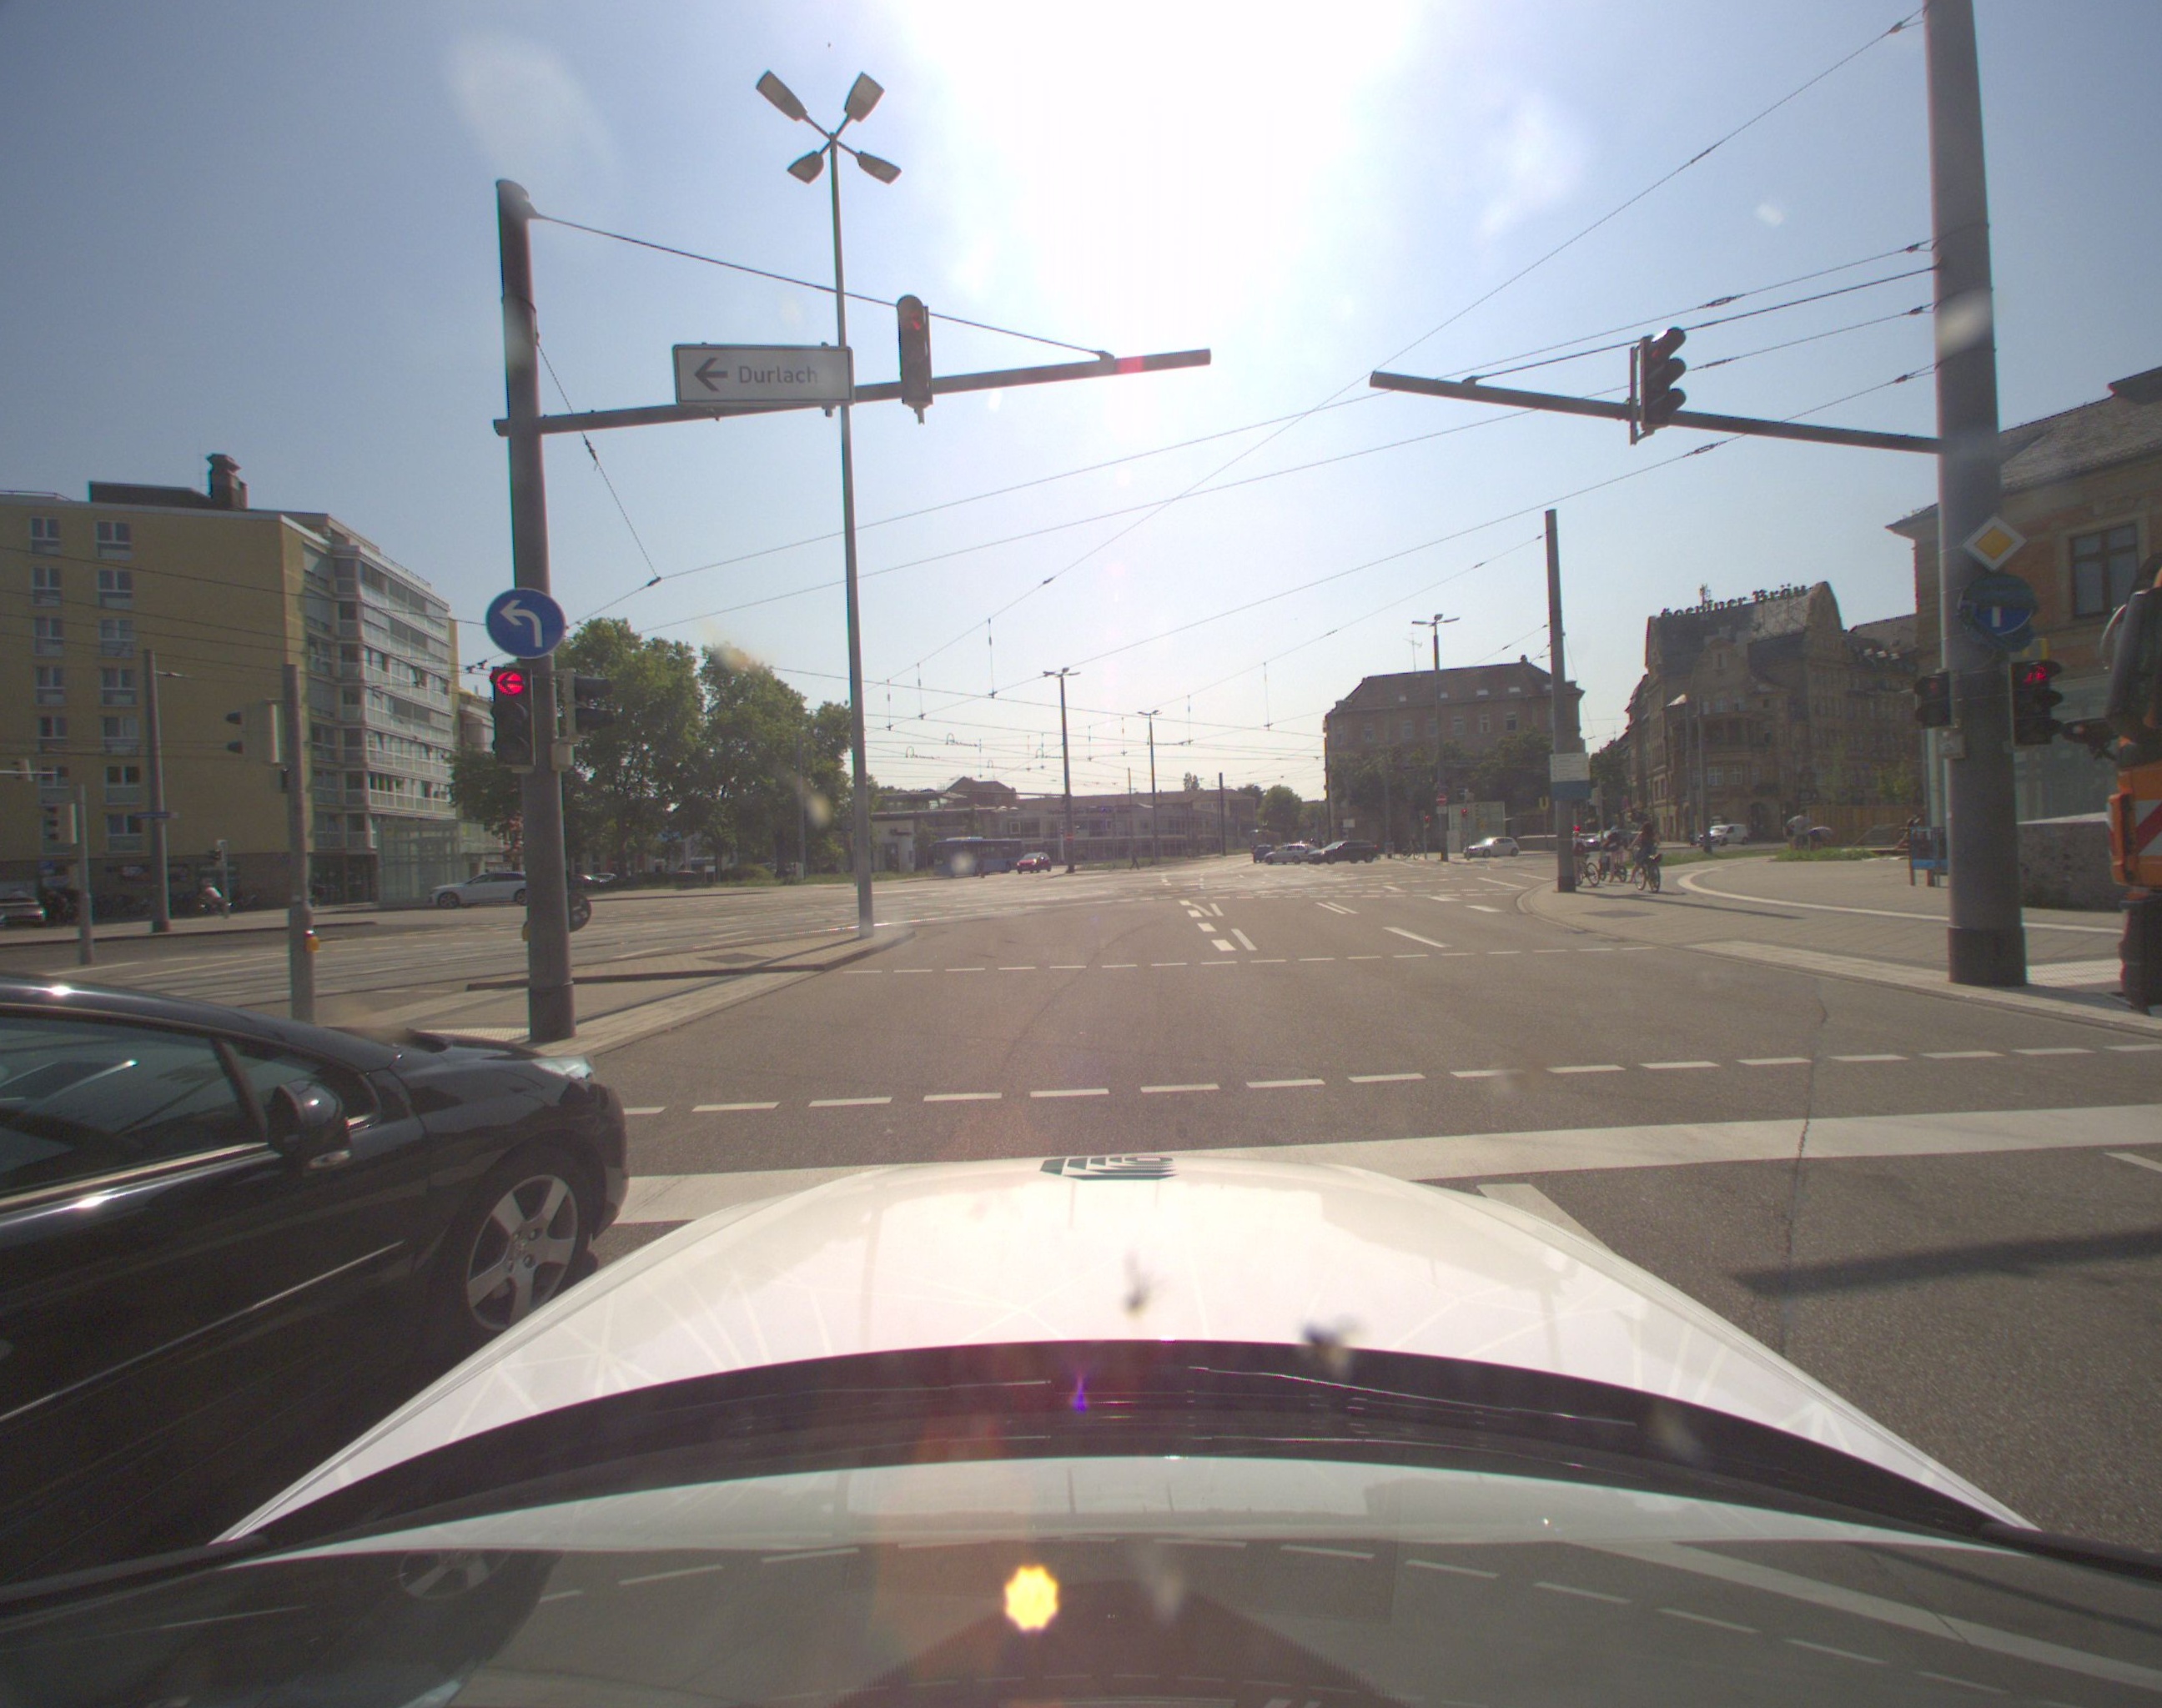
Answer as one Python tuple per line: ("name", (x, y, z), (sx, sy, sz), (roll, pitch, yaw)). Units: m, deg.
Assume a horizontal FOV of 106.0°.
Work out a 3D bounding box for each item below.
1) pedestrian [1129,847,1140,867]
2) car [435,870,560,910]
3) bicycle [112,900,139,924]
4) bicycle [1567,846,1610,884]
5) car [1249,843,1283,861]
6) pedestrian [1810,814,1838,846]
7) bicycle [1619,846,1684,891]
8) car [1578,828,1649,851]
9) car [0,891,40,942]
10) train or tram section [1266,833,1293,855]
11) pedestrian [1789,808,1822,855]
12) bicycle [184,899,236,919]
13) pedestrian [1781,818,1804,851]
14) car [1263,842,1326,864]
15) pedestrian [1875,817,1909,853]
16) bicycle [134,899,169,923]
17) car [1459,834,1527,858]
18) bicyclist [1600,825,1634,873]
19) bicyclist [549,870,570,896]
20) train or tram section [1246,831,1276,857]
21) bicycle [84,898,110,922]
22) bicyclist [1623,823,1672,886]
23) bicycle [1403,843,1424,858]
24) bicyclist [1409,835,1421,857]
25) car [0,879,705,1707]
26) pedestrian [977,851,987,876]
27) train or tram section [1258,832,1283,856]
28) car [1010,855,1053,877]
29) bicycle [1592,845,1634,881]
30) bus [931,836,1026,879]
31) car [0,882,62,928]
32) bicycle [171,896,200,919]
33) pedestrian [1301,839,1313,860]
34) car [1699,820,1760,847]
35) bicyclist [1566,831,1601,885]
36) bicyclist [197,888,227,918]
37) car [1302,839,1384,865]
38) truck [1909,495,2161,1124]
("pedestrian", (3.903, 0.210, 59.650), (0.678, 1.443, 0.364), (-2, 0, -15))
("car", (-27.229, 1.654, 38.158), (4.330, 1.618, 1.745), (-2, 0, -16))
("bicycle", (-51.645, 3.105, 44.010), (3.220, 1.204, 0.699), (-3, 0, 36))
("bicycle", (14.570, 0.297, 23.401), (0.532, 1.055, 1.660), (-2, 0, 14))
("car", (15.514, -0.165, 68.154), (1.575, 1.394, 4.025), (-3, 0, 30))
("pedestrian", (29.129, -0.943, 31.928), (0.658, 1.214, 0.531), (-2, 0, 30))
("bicycle", (14.152, 0.337, 20.263), (0.489, 1.055, 1.826), (-2, 0, 7))
("car", (39.757, -1.096, 60.811), (4.624, 1.505, 1.987), (-2, 0, -19))
("car", (-37.647, 2.161, 26.366), (4.545, 1.600, 1.759), (-2, 0, -21))
("train or tram section", (33.758, -1.701, 138.081), (2.566, 3.516, 13.040), (-2, 0, 21))
("pedestrian", (27.155, -0.826, 30.530), (0.549, 1.724, 0.812), (-2, 0, -39))
("bicycle", (-45.739, 2.887, 42.785), (1.818, 0.942, 0.564), (-2, 0, -17))
("pedestrian", (34.476, -0.953, 39.471), (0.794, 1.575, 0.729), (-2, 0, -44))
("car", (15.434, -0.050, 59.083), (1.784, 1.415, 4.142), (-2, 0, -37))
("pedestrian", (32.028, -0.754, 32.151), (0.768, 1.399, 0.687), (-2, 0, -23))
("bicycle", (-50.734, 3.089, 44.437), (3.220, 1.204, 0.916), (-3, 0, 36))
("car", (28.403, -0.557, 56.157), (4.203, 1.415, 1.764), (-2, 0, -21))
("bicyclist", (16.106, -0.140, 24.483), (0.526, 1.393, 0.897), (-2, 0, 14))
("bicyclist", (-30.762, 1.711, 48.035), (0.873, 1.475, 0.543), (-2, 0, -16))
("train or tram section", (26.110, -1.440, 117.696), (2.566, 3.516, 10.955), (-2, 0, 21))
("bicycle", (-53.026, 3.016, 43.874), (2.754, 1.204, 0.699), (-3, 0, 36))
("bicyclist", (14.140, 0.002, 20.328), (0.730, 1.517, 0.665), (-2, 0, 6))
("bicycle", (24.407, -0.219, 59.805), (0.470, 1.055, 1.643), (-2, 0, -18))
("bicyclist", (24.464, -0.581, 59.630), (0.614, 1.528, 0.517), (-2, 0, -22))
("car", (-2.641, 0.814, 1.568), (1.757, 1.388, 3.787), (-1, 0, 6))
("pedestrian", (-6.965, 0.671, 57.240), (0.554, 1.684, 0.451), (-2, 0, -17))
("train or tram section", (29.748, -1.556, 127.416), (2.566, 3.516, 9.708), (-2, 0, 20))
("car", (-3.824, 0.937, 63.582), (1.735, 1.552, 4.020), (-3, 0, 20))
("bicycle", (16.215, 0.261, 24.844), (0.532, 1.055, 1.660), (-2, 0, 14))
("bus", (-8.109, 0.204, 66.968), (2.541, 3.082, 12.082), (-3, 0, 19))
("car", (-48.206, 2.331, 37.202), (3.949, 1.925, 1.815), (-3, 0, 42))
("bicycle", (-49.099, 2.912, 44.643), (3.220, 1.204, 0.699), (-3, 0, 36))
("pedestrian", (18.134, -0.350, 65.244), (0.699, 1.603, 0.572), (-2, 0, -6))
("car", (53.105, -1.645, 66.681), (4.632, 2.013, 1.984), (-2, 0, -24))
("bicyclist", (14.606, 0.116, 23.685), (0.623, 1.517, 0.715), (-2, 0, 14))
("bicyclist", (-45.679, 2.550, 42.812), (0.912, 1.508, 0.556), (-2, 0, -16))
("car", (16.627, -0.139, 51.652), (4.766, 1.415, 1.765), (-2, 0, -18))
("truck", (6.469, -0.225, 1.872), (2.481, 3.134, 6.869), (-1, 0, 4))
